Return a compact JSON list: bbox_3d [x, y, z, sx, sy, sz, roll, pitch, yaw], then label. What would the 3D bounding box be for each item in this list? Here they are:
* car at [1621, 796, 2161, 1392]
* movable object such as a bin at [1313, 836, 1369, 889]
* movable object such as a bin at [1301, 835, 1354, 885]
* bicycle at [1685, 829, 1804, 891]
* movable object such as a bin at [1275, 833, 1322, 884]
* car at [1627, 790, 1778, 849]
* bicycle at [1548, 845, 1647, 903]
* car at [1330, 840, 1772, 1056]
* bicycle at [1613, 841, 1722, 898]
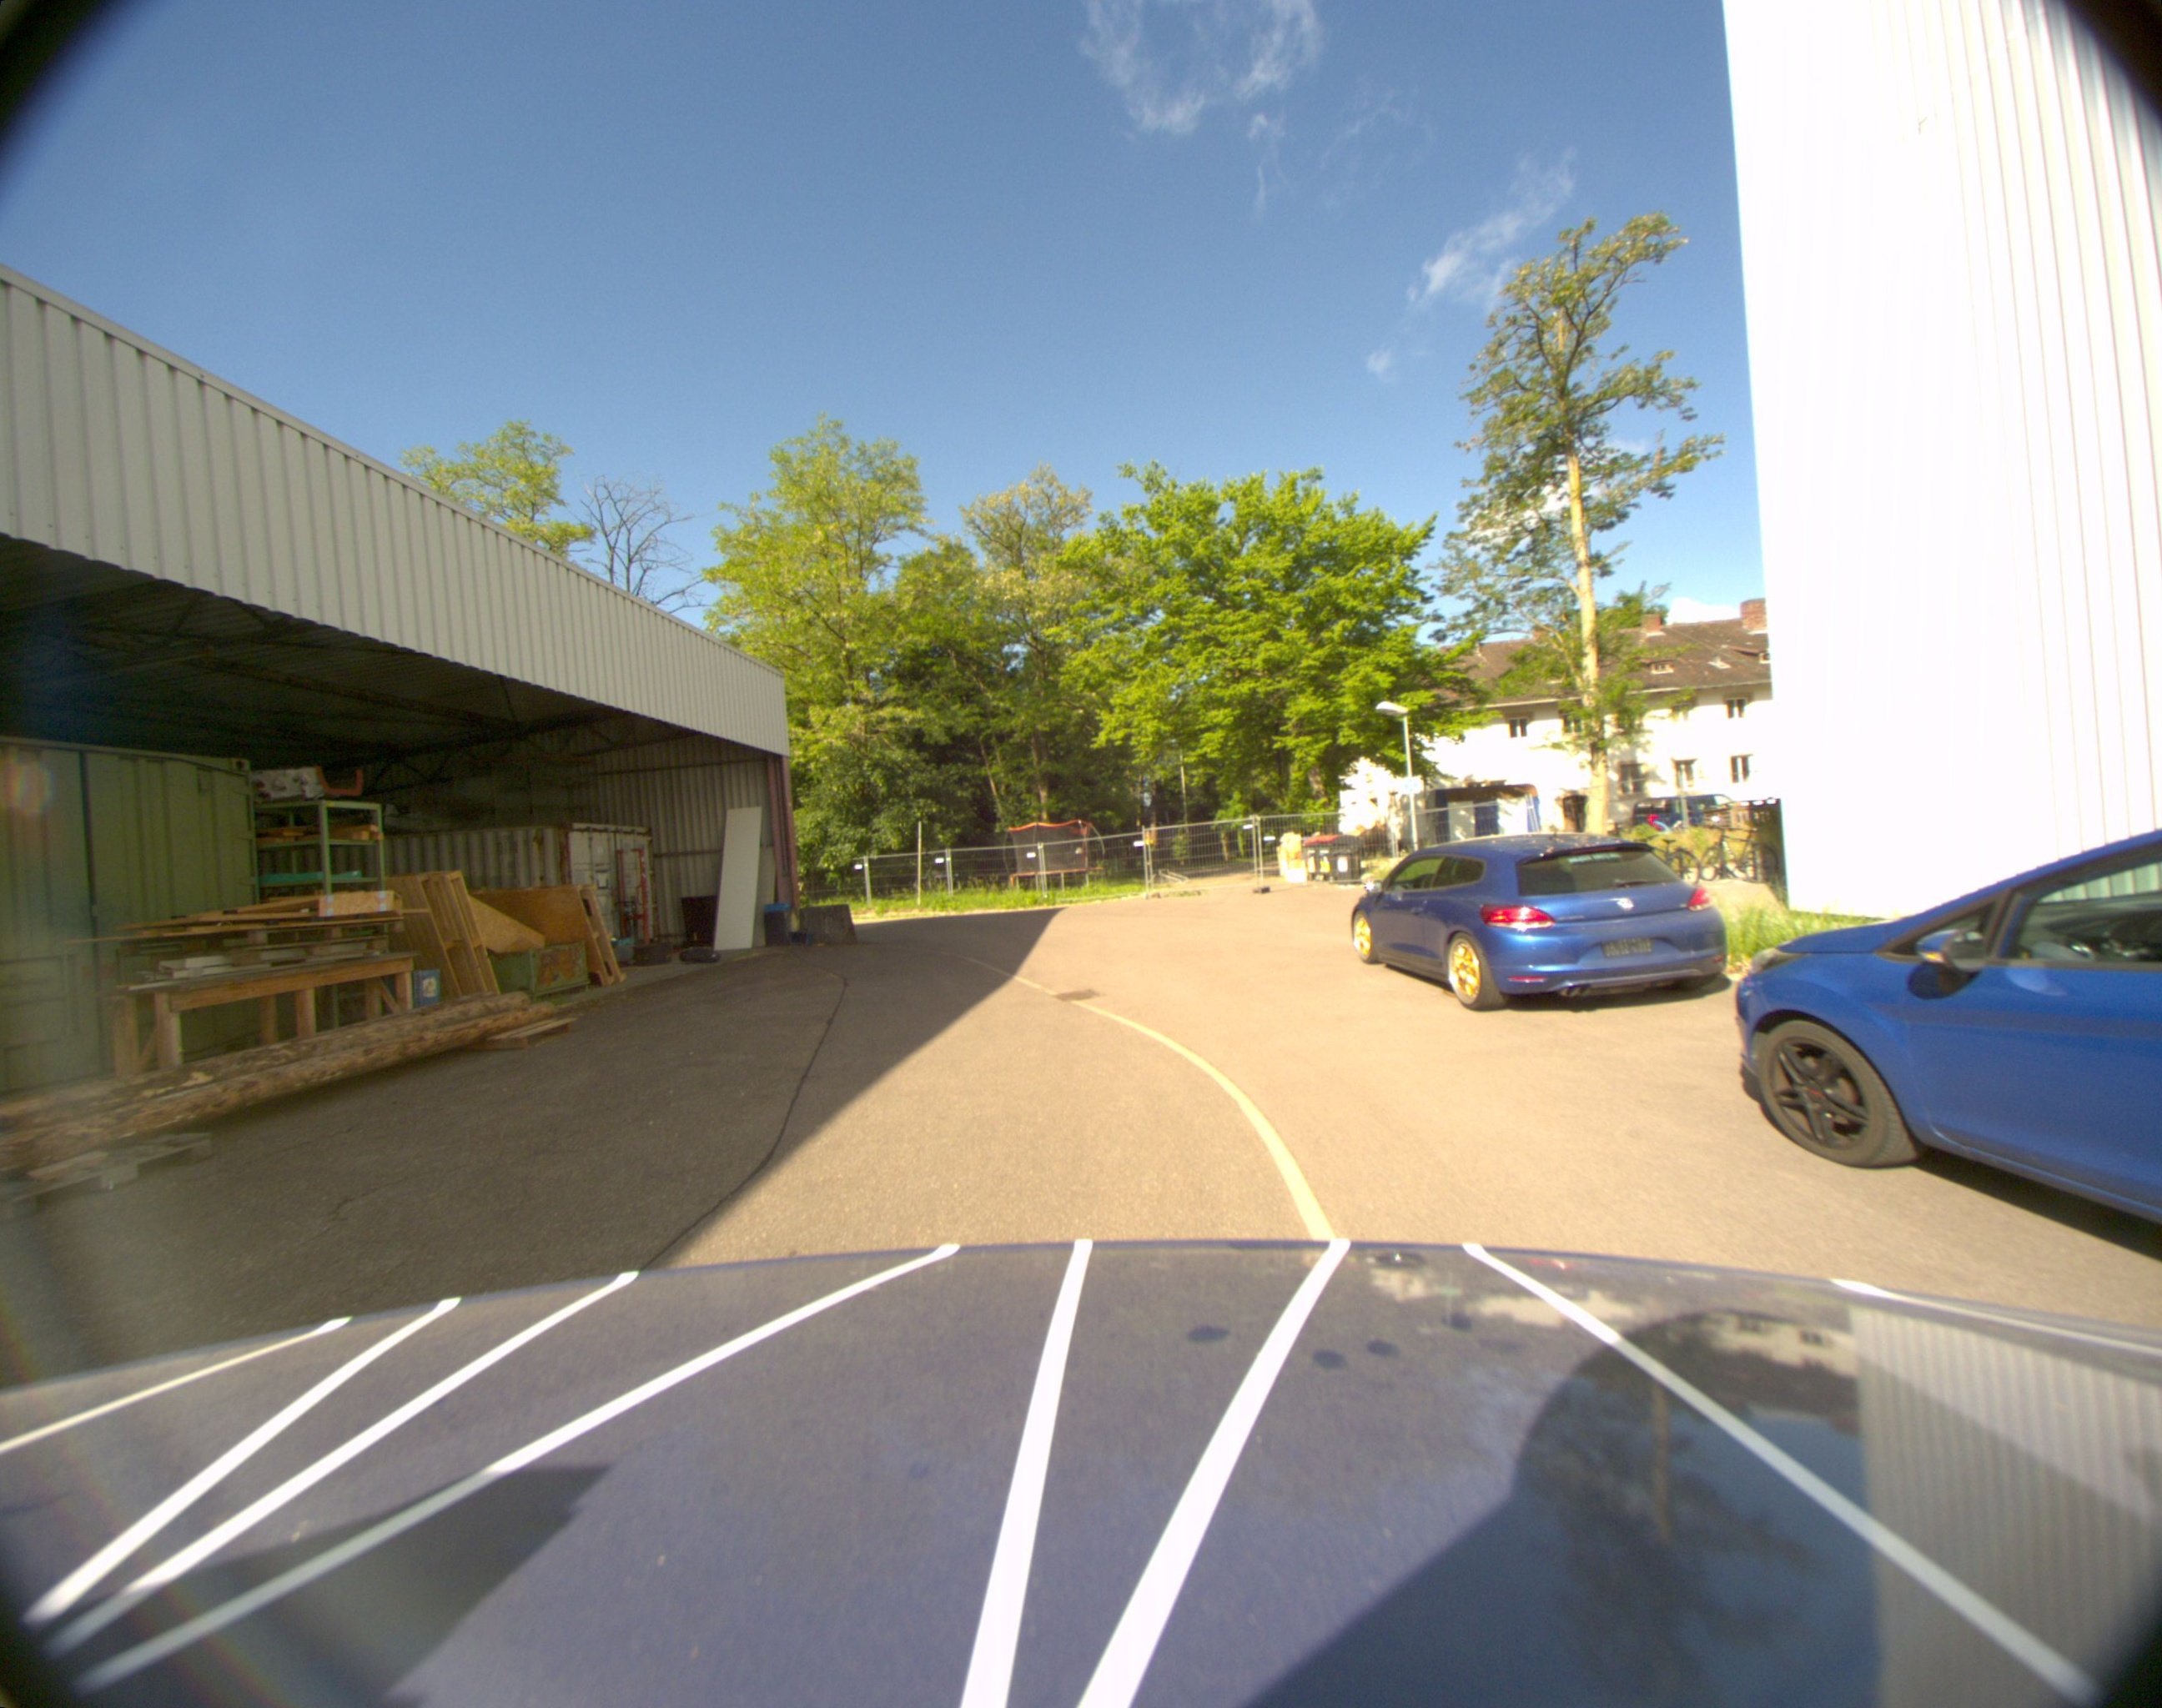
[{"bbox_3d":[3.624,0.610,1.887,1.634,1.491,4.095,-7,0,2],"label":"car"},{"bbox_3d":[7.727,0.228,22.627,1.093,1.424,1.230,-6,1,-2],"label":"movable object such as a bin"},{"bbox_3d":[7.761,0.189,23.960,1.093,1.431,1.230,-6,1,-2],"label":"movable object such as a bin"},{"bbox_3d":[12.270,0.109,14.134,0.482,1.031,1.831,-6,0,-2],"label":"bicycle"},{"bbox_3d":[7.389,0.141,25.882,1.093,1.588,1.230,-5,2,-2],"label":"movable object such as a bin"},{"bbox_3d":[24.947,-1.366,30.782,2.057,2.001,4.874,-6,2,1],"label":"car"},{"bbox_3d":[9.741,0.355,14.410,0.482,0.981,1.835,-6,0,-2],"label":"bicycle"},{"bbox_3d":[3.923,0.650,7.305,1.778,1.352,4.054,-5,0,3],"label":"car"},{"bbox_3d":[10.943,0.269,14.263,0.482,0.954,1.834,-6,0,-2],"label":"bicycle"}]
